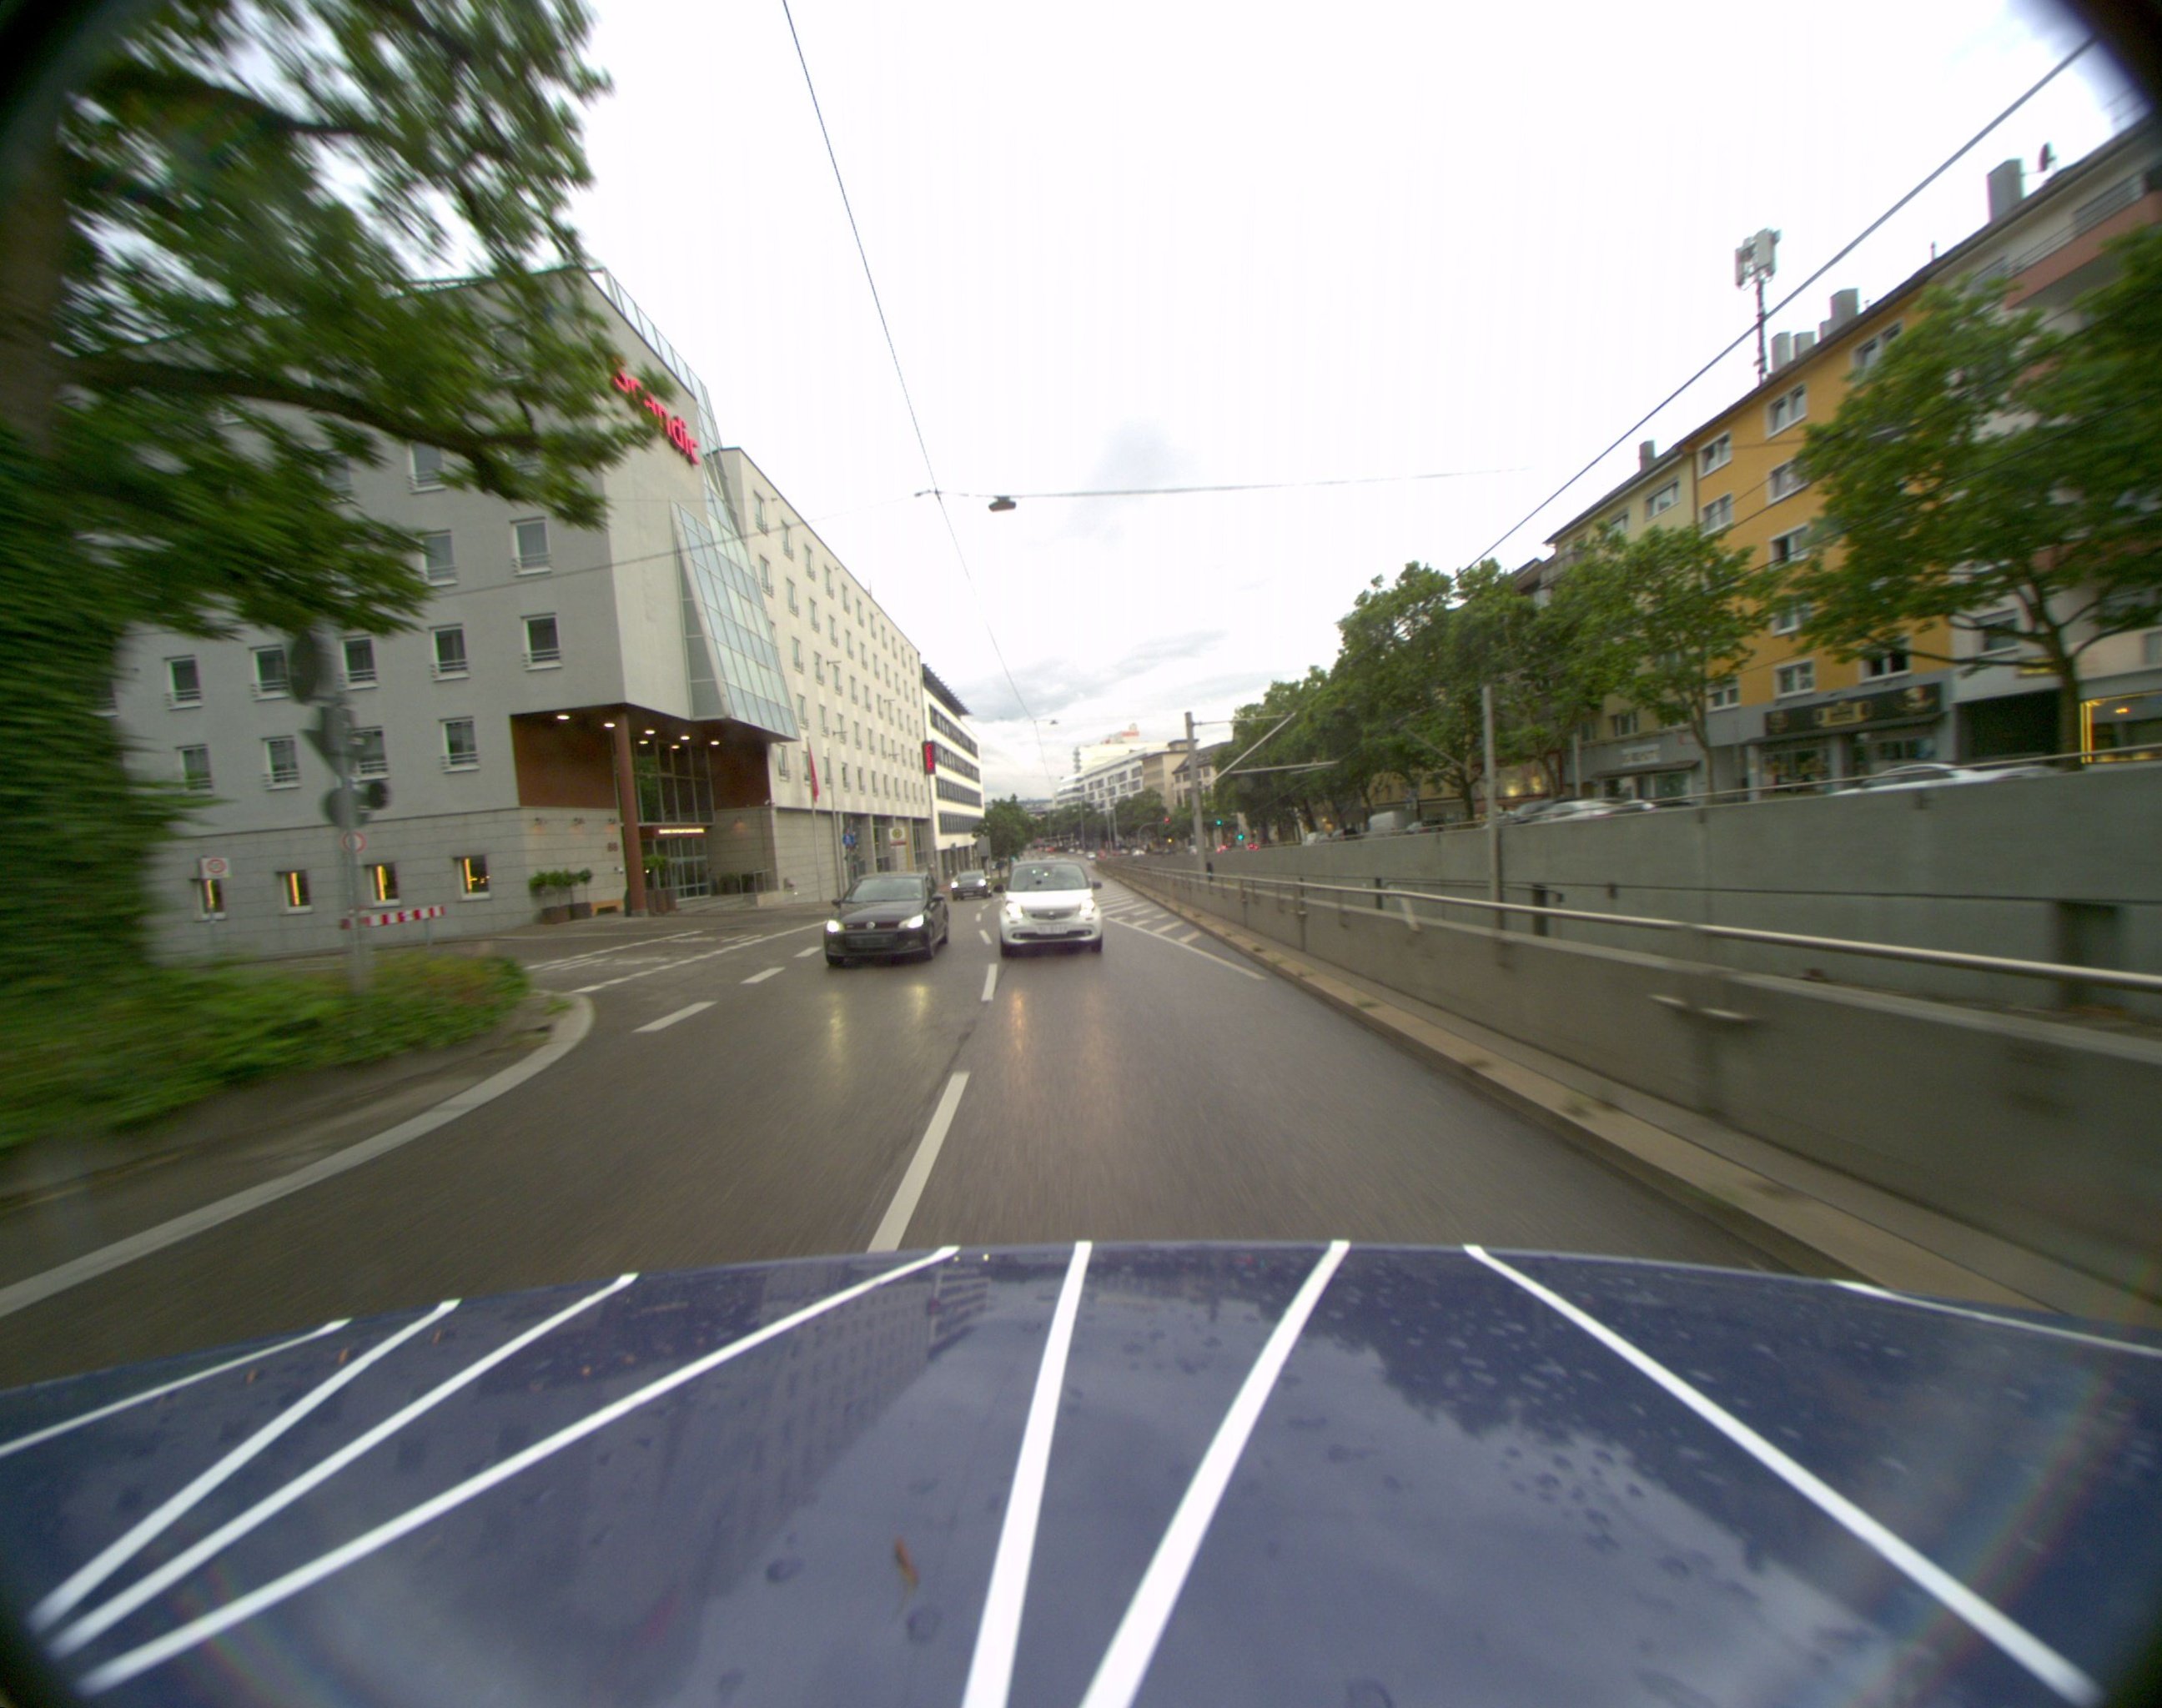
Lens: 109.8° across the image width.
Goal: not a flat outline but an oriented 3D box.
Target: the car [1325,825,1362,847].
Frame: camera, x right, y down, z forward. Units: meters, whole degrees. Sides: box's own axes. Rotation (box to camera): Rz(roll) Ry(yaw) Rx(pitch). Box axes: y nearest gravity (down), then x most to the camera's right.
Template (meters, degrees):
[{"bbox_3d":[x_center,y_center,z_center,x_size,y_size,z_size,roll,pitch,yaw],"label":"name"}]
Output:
[{"bbox_3d":[24.283,-1.612,70.465,1.799,1.719,4.206,-6,0,-1],"label":"car"}]

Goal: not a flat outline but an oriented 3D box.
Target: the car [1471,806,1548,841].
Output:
[{"bbox_3d":[23.364,-1.610,41.603,1.798,1.562,4.208,-6,0,2],"label":"car"}]

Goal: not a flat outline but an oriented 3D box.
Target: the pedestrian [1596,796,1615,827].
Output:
[{"bbox_3d":[30.762,-2.499,44.558,0.524,1.738,0.622,-8,1,9],"label":"pedestrian"}]

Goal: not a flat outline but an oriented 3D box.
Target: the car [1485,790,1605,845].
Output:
[{"bbox_3d":[19.092,-1.441,31.596,1.961,1.841,4.969,-6,0,3],"label":"car"}]

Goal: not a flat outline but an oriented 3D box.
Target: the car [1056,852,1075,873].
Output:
[{"bbox_3d":[-1.738,0.914,85.731,1.799,2.021,3.999,-6,1,0],"label":"car"}]

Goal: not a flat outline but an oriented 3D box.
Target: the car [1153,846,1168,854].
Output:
[{"bbox_3d":[16.809,-0.858,161.131,1.800,1.501,3.996,-7,1,-12],"label":"car"}]

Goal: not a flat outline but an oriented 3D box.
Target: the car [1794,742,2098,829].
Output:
[{"bbox_3d":[21.979,-1.634,19.771,1.932,1.591,5.200,-6,0,2],"label":"car"}]

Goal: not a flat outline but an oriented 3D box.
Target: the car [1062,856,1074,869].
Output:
[{"bbox_3d":[-2.381,1.452,133.864,1.799,1.934,3.998,-6,1,-3],"label":"car"}]

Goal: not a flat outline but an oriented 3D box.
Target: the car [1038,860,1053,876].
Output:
[{"bbox_3d":[-4.850,1.891,103.365,1.799,1.934,3.998,-6,1,-3],"label":"car"}]

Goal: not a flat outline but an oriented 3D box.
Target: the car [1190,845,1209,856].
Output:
[{"bbox_3d":[19.465,-0.508,124.823,1.852,1.501,4.820,-6,0,-5],"label":"car"}]

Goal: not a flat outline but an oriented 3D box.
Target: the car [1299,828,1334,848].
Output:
[{"bbox_3d":[24.931,-1.631,80.554,1.882,1.754,4.900,-6,0,-2],"label":"car"}]

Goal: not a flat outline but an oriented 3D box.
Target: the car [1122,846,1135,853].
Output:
[{"bbox_3d":[11.585,-1.050,185.245,1.800,1.501,3.995,-6,1,-14],"label":"car"}]

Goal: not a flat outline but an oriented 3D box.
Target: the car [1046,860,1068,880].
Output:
[{"bbox_3d":[-2.168,1.415,69.626,1.799,1.501,3.999,-6,1,0],"label":"car"}]

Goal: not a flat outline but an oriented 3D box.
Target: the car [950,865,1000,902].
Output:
[{"bbox_3d":[-5.237,1.436,38.037,1.751,1.433,3.706,-6,1,2],"label":"car"}]

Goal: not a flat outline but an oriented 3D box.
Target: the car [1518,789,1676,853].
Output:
[{"bbox_3d":[15.035,-0.902,22.448,1.799,1.501,4.000,-6,0,0],"label":"car"}]

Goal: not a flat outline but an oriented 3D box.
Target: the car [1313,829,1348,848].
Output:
[{"bbox_3d":[24.683,-1.535,75.261,1.881,1.574,4.473,-6,0,1],"label":"car"}]

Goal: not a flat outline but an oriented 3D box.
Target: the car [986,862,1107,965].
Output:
[{"bbox_3d":[-0.515,0.955,13.782,1.799,1.528,4.001,-3,-1,0],"label":"car"}]

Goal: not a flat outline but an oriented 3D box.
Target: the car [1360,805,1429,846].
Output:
[{"bbox_3d":[24.029,-2.105,58.660,2.458,2.646,6.932,-6,0,2],"label":"car"}]

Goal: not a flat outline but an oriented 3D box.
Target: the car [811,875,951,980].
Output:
[{"bbox_3d":[-3.295,1.143,13.229,1.678,1.391,3.847,-2,0,-5],"label":"car"}]

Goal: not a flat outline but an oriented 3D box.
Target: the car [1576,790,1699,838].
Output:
[{"bbox_3d":[22.160,-1.555,30.488,1.798,1.501,4.208,-6,0,2],"label":"car"}]

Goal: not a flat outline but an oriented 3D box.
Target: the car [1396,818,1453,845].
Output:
[{"bbox_3d":[23.646,-1.535,52.450,1.798,1.501,4.672,-6,0,2],"label":"car"}]

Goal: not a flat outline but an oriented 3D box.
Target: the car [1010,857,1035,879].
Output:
[{"bbox_3d":[-5.292,1.239,69.166,1.799,1.656,3.999,-6,1,0],"label":"car"}]

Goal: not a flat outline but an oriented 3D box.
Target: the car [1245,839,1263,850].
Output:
[{"bbox_3d":[25.805,-1.391,113.630,1.850,1.501,4.018,-6,0,4],"label":"car"}]

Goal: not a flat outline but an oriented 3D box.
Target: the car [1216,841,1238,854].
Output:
[{"bbox_3d":[19.655,-0.850,102.322,2.031,1.501,4.883,-6,0,2],"label":"car"}]

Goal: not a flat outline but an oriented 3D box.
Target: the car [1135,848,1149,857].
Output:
[{"bbox_3d":[12.973,-0.331,162.309,1.800,1.760,4.727,-5,1,-10],"label":"car"}]

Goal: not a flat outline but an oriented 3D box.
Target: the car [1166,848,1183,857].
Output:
[{"bbox_3d":[17.211,-0.295,140.412,1.800,1.501,4.340,-5,1,-9],"label":"car"}]

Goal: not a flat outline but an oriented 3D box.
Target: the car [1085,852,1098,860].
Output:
[{"bbox_3d":[2.406,0.455,172.546,1.800,1.733,3.996,-7,1,-12],"label":"car"}]

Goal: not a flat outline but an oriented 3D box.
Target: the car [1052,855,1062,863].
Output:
[{"bbox_3d":[-5.124,0.997,162.897,1.799,1.501,3.998,-7,1,-3],"label":"car"}]

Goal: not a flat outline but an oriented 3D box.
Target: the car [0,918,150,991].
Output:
[{"bbox_3d":[-26.793,2.640,19.500,3.995,1.501,1.801,-6,-1,8],"label":"car"}]
